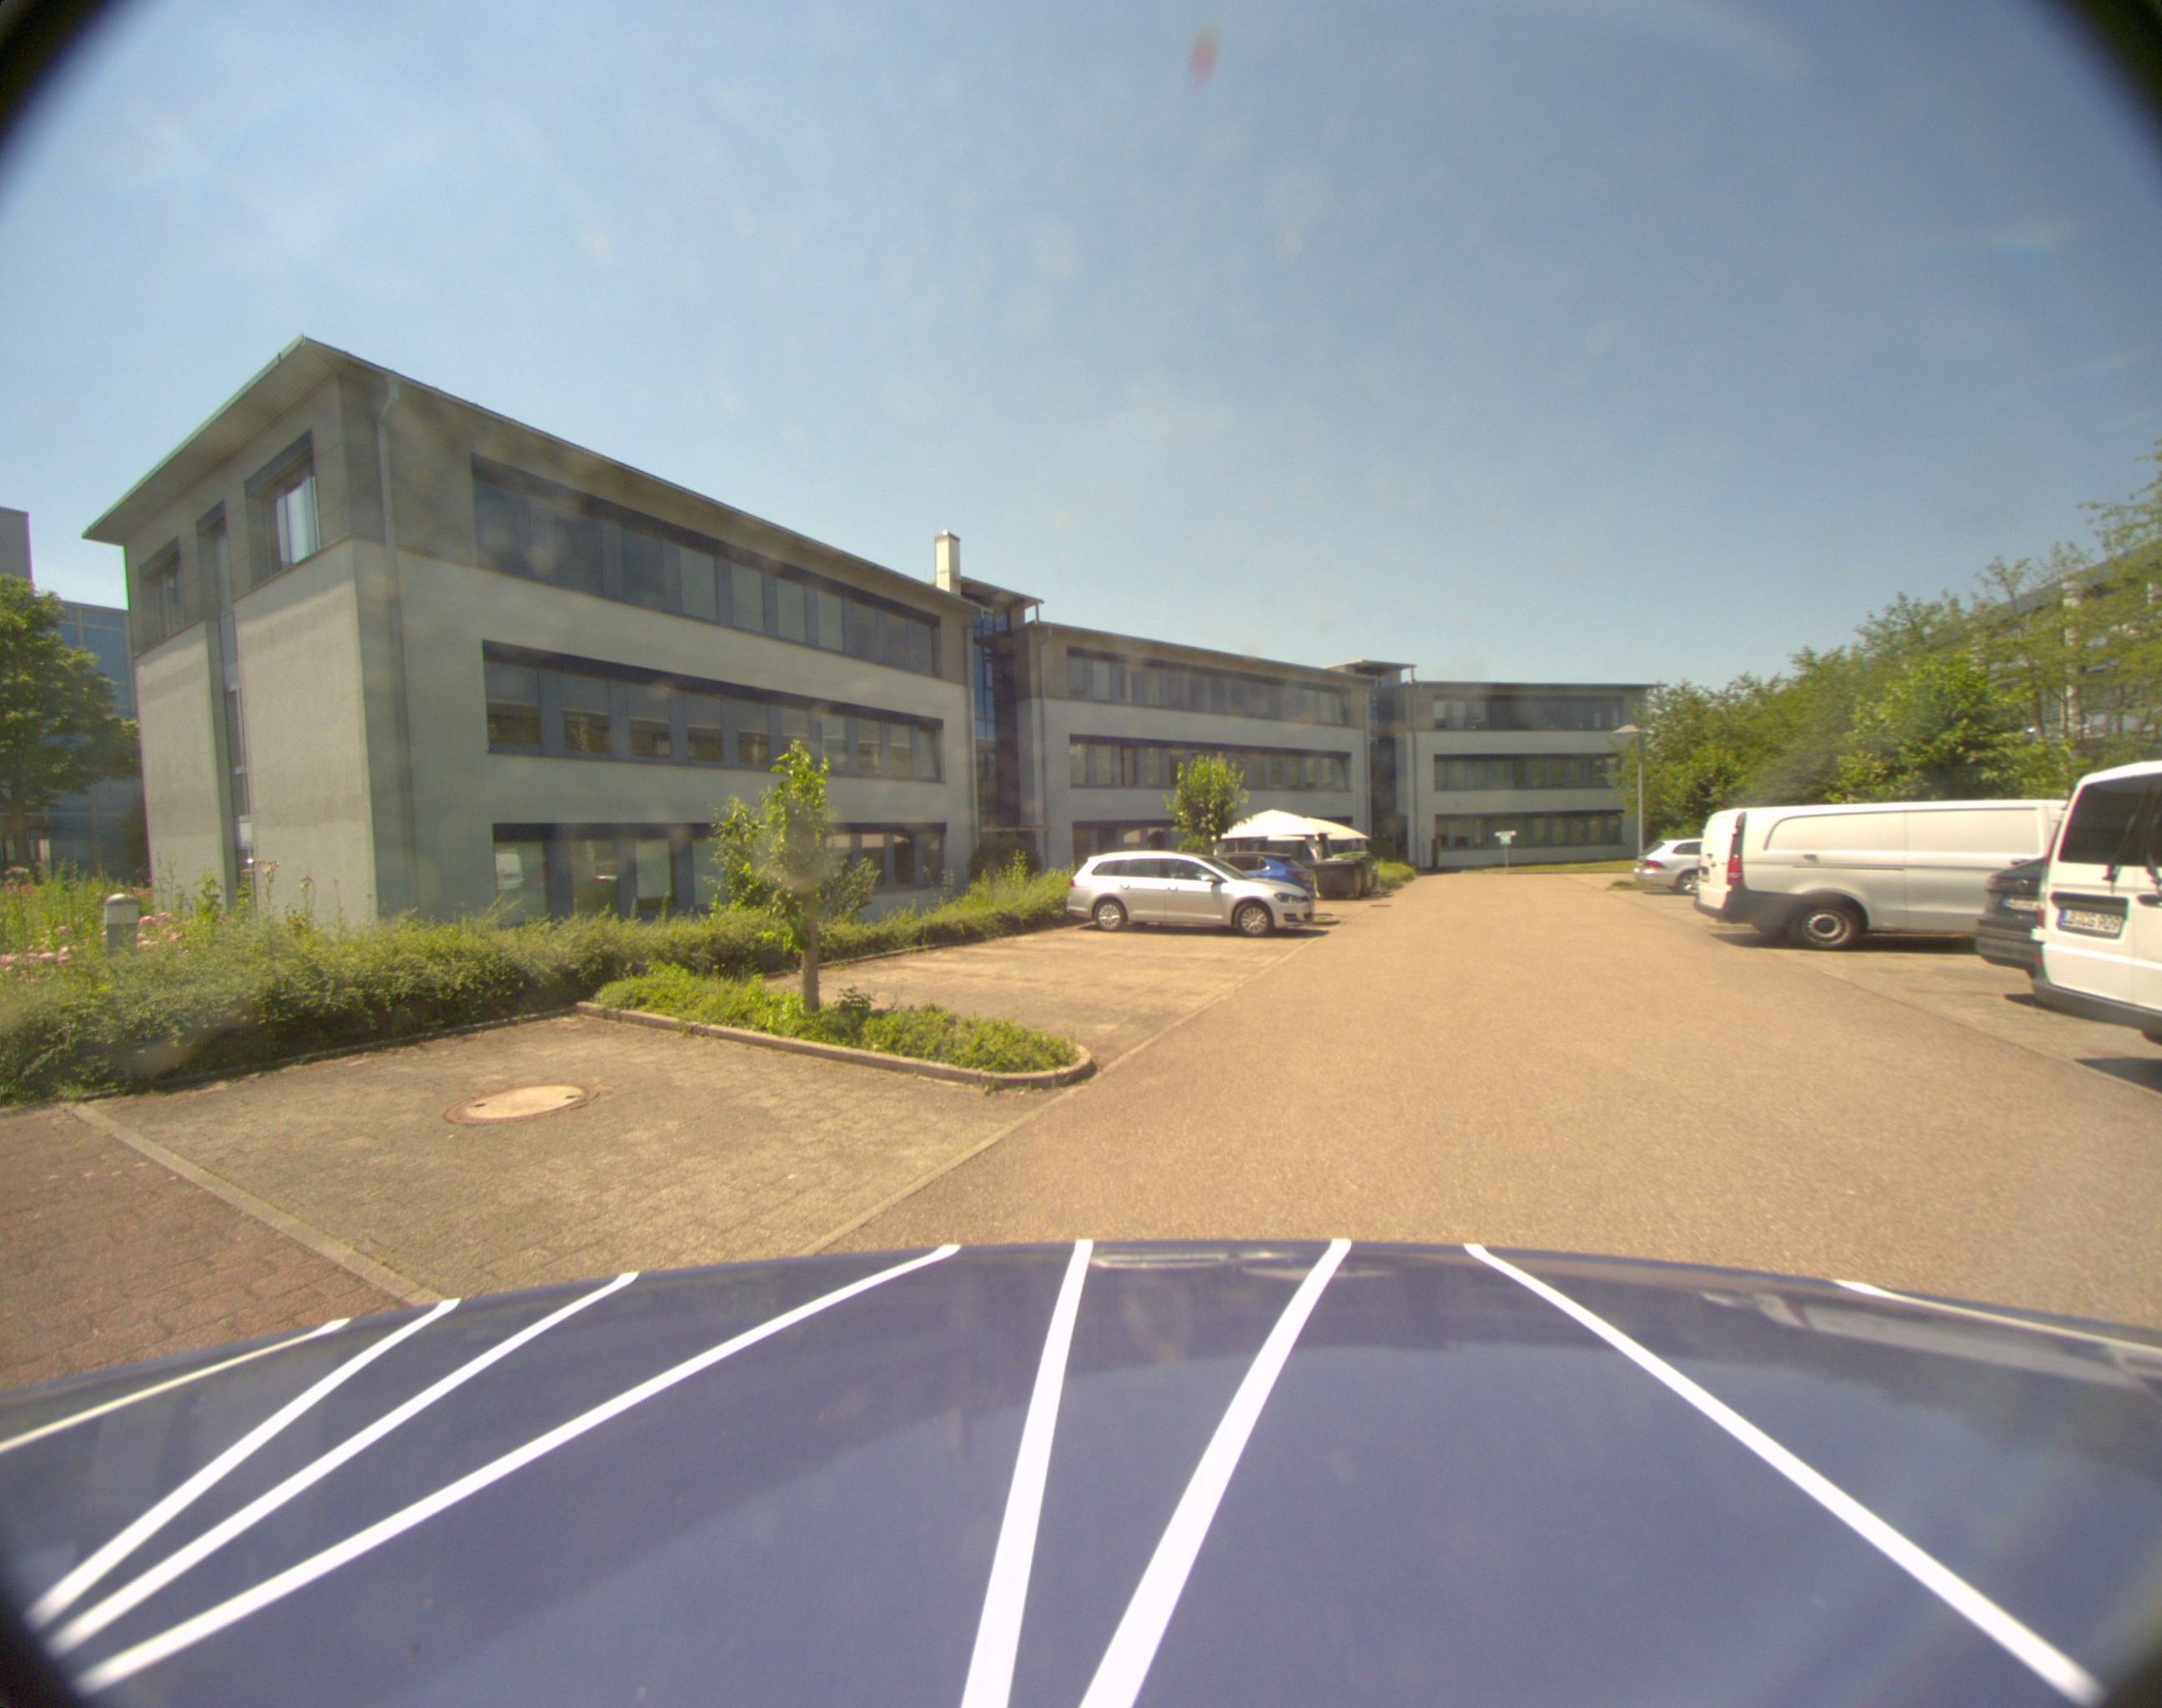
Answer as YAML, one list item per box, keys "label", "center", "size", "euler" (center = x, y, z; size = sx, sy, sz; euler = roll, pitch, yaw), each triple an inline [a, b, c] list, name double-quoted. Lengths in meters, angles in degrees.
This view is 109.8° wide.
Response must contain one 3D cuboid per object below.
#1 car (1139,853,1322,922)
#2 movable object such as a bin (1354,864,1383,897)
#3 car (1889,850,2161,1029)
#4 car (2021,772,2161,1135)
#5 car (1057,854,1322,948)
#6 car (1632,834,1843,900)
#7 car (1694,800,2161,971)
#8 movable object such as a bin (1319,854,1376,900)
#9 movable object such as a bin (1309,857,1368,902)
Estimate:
- label: "car"
  center: [3.418, 0.697, 17.448]
  size: [3.817, 1.384, 1.654]
  euler: [0, 2, 26]
- label: "movable object such as a bin"
  center: [8.718, 0.804, 23.025]
  size: [0.689, 0.944, 0.723]
  euler: [-1, 1, 32]
- label: "car"
  center: [9.764, 0.667, 6.332]
  size: [3.842, 1.385, 1.579]
  euler: [-1, 1, 26]
- label: "car"
  center: [7.837, 0.476, 3.090]
  size: [4.723, 1.895, 1.832]
  euler: [-1, 1, 26]
- label: "car"
  center: [1.987, 0.763, 14.103]
  size: [4.509, 1.489, 1.832]
  euler: [0, 1, 26]
- label: "car"
  center: [16.472, 0.321, 19.321]
  size: [3.756, 1.549, 1.663]
  euler: [-1, 1, 26]
- label: "car"
  center: [10.927, 0.353, 9.706]
  size: [4.509, 1.871, 1.832]
  euler: [-1, 1, 26]
- label: "movable object such as a bin"
  center: [7.869, 0.659, 22.409]
  size: [1.361, 1.288, 1.045]
  euler: [-1, 1, 32]
- label: "movable object such as a bin"
  center: [7.296, 0.706, 21.506]
  size: [1.361, 1.182, 0.999]
  euler: [-1, 1, 32]
